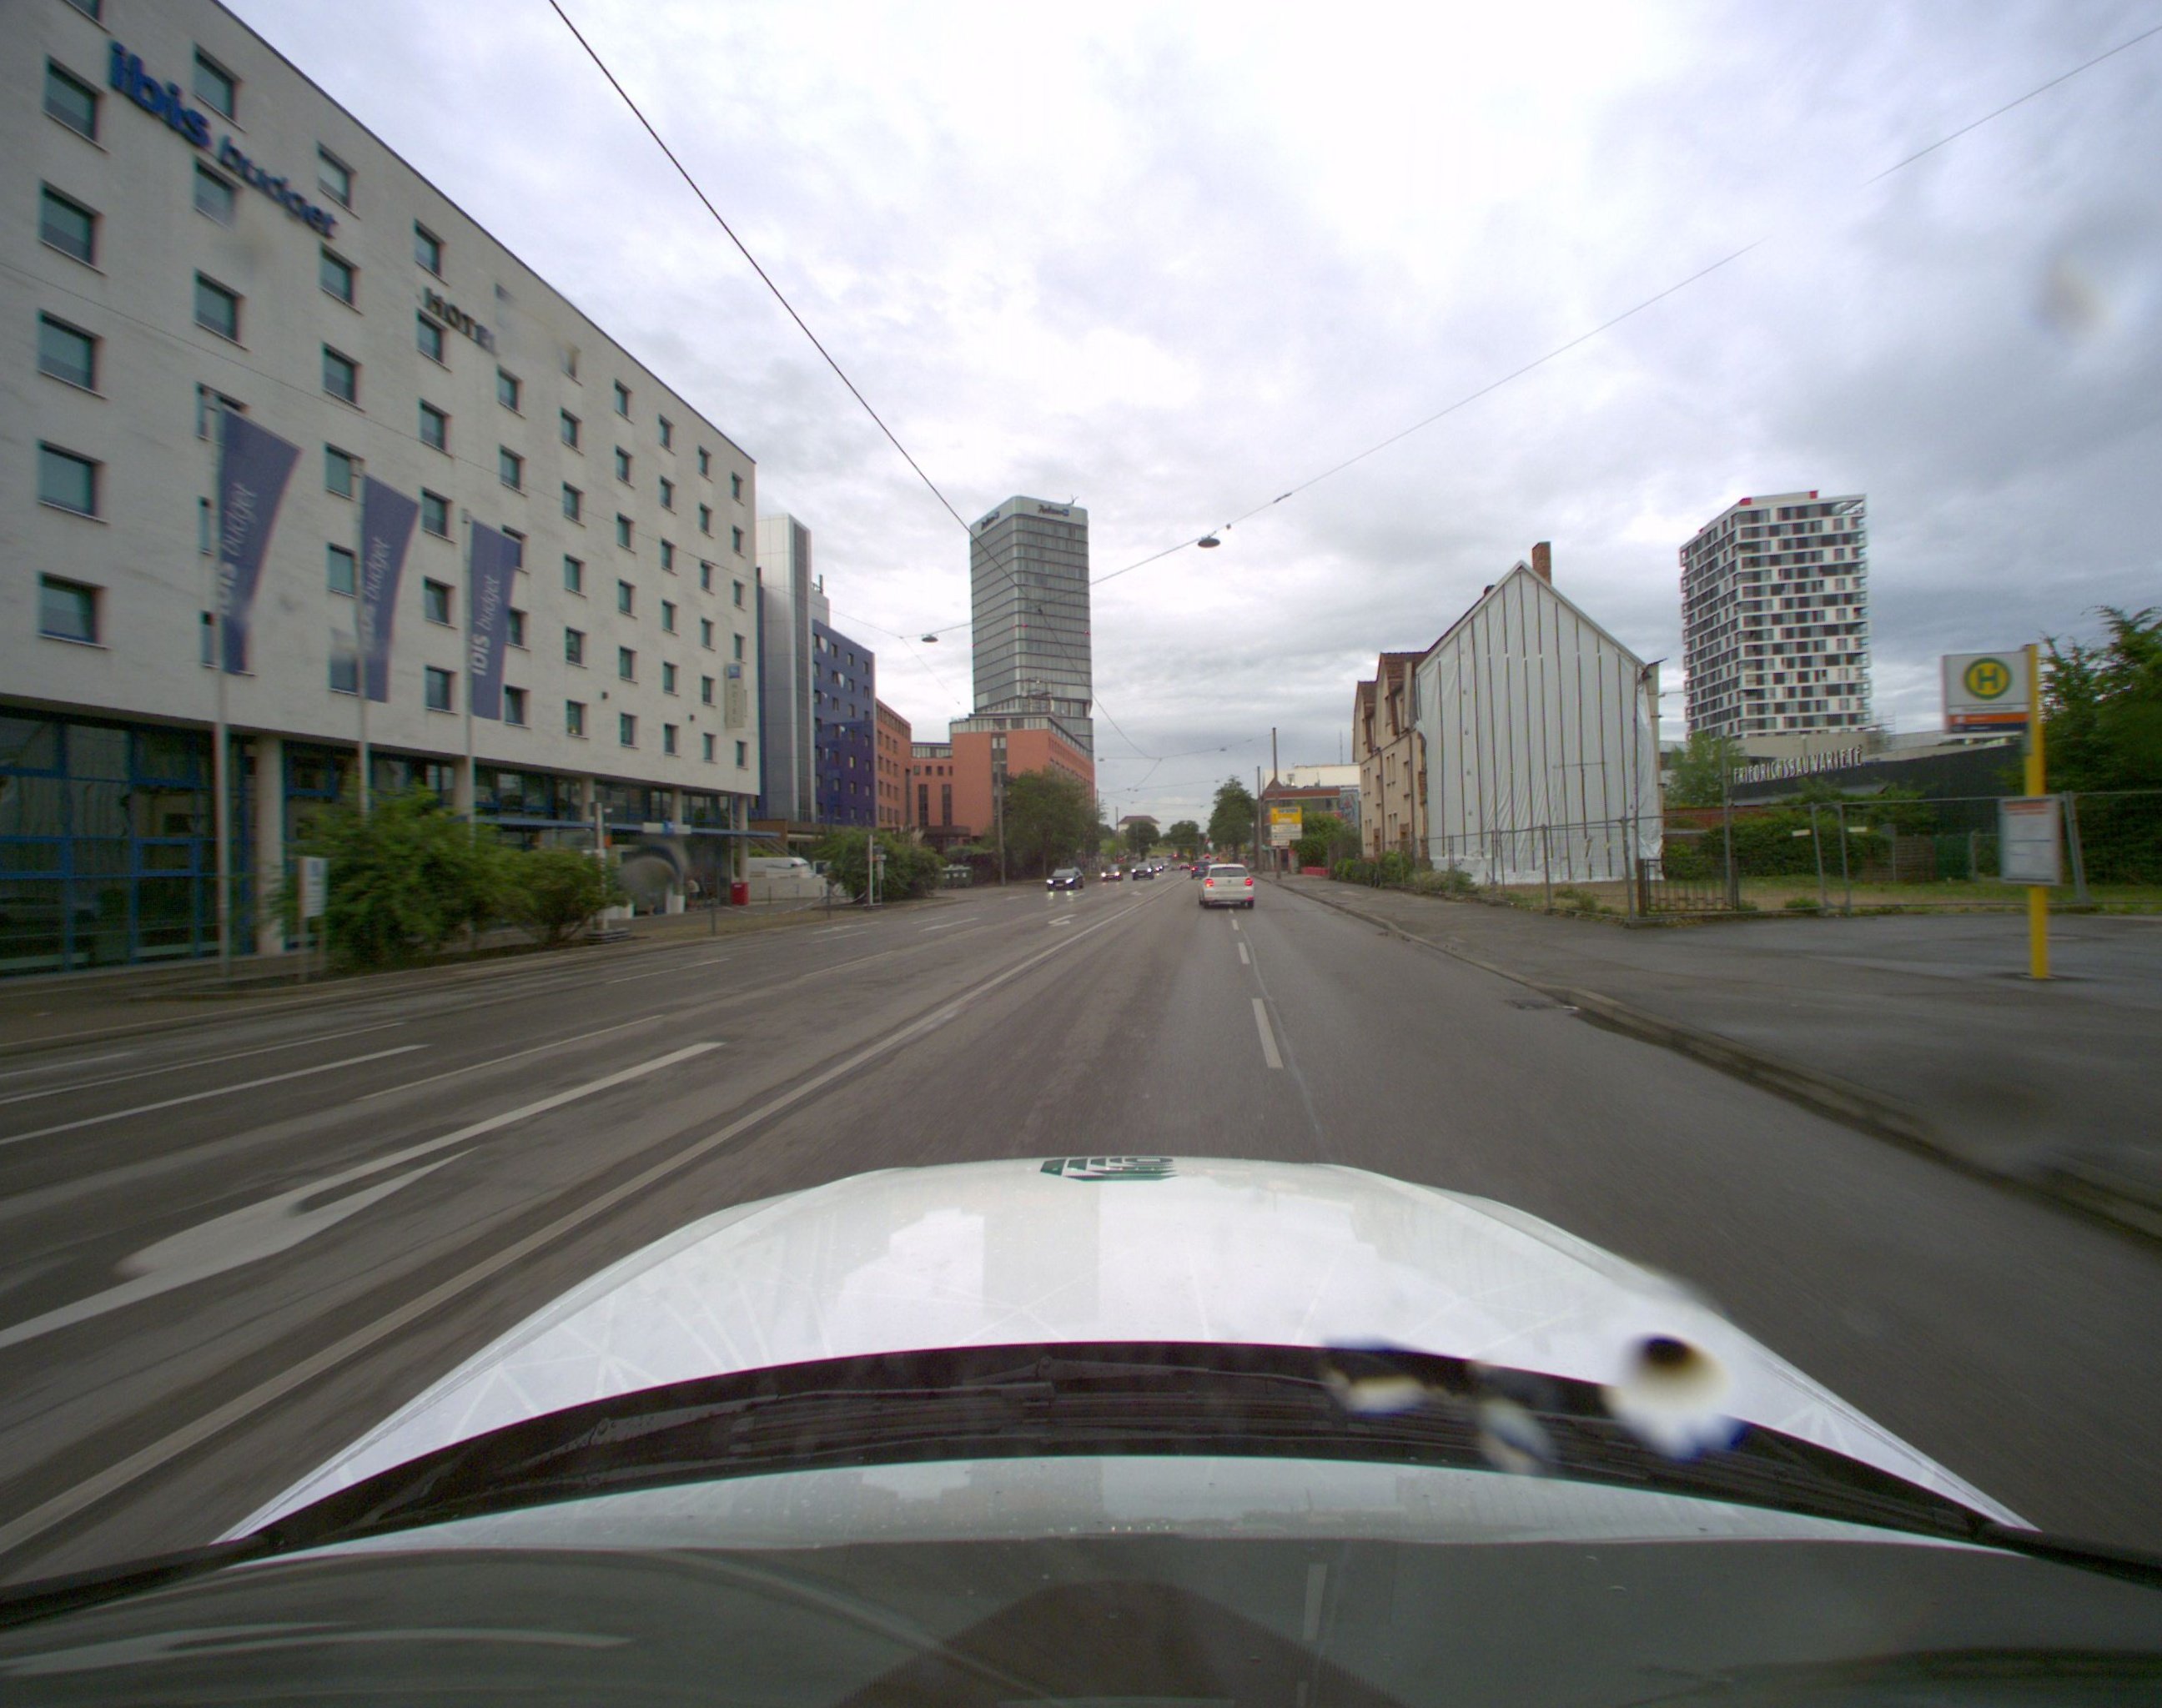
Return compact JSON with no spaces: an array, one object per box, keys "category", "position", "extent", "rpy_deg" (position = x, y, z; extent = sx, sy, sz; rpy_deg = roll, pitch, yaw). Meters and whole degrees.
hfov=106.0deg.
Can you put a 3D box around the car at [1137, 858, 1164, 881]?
[{"category":"car","position":[6.923,1.594,81.432],"extent":[1.991,2.014,3.991],"rpy_deg":[-3,-3,-6]}]

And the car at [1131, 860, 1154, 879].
[{"category":"car","position":[5.967,1.505,78.810],"extent":[1.746,1.555,4.461],"rpy_deg":[-4,0,8]}]

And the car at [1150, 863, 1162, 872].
[{"category":"car","position":[11.979,2.147,129.868],"extent":[1.649,1.486,3.829],"rpy_deg":[-2,-1,9]}]

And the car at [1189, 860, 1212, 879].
[{"category":"car","position":[10.790,1.384,73.443],"extent":[1.982,1.574,4.009],"rpy_deg":[-2,-1,8]}]

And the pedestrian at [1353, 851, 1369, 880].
[{"category":"pedestrian","position":[17.152,0.702,49.867],"extent":[0.903,1.764,0.771],"rpy_deg":[0,-1,21]}]

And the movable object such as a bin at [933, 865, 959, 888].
[{"category":"movable object such as a bin","position":[-9.454,1.581,57.051],"extent":[1.378,1.491,0.956],"rpy_deg":[-5,-3,20]}]

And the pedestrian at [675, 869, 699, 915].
[{"category":"pedestrian","position":[-18.115,1.759,37.484],"extent":[0.815,2.014,0.799],"rpy_deg":[-3,-3,-19]}]

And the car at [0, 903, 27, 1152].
[{"category":"car","position":[-7.311,0.993,2.325],"extent":[1.807,1.387,4.975],"rpy_deg":[-2,-1,8]}]

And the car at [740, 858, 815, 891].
[{"category":"car","position":[-21.984,1.526,59.111],"extent":[4.685,2.014,1.897],"rpy_deg":[-4,-3,9]}]

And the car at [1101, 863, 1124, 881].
[{"category":"car","position":[3.088,1.727,79.223],"extent":[1.698,1.566,4.044],"rpy_deg":[-4,0,9]}]

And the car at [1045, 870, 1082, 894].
[{"category":"car","position":[-1.124,1.835,54.485],"extent":[1.724,1.477,4.708],"rpy_deg":[-2,-1,7]}]

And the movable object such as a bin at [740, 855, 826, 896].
[{"category":"movable object such as a bin","position":[-22.404,1.655,61.363],"extent":[5.593,2.628,2.167],"rpy_deg":[-4,-3,8]}]

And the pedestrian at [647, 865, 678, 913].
[{"category":"pedestrian","position":[-18.182,1.533,35.399],"extent":[0.797,2.014,0.817],"rpy_deg":[-4,-3,10]}]

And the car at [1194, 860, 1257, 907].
[{"category":"car","position":[4.861,0.961,27.761],"extent":[1.664,1.474,3.783],"rpy_deg":[-1,-1,3]}]

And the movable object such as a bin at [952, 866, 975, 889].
[{"category":"movable object such as a bin","position":[-8.106,1.620,56.103],"extent":[1.386,1.491,0.951],"rpy_deg":[-4,-3,-1]}]

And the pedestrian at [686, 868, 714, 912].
[{"category":"pedestrian","position":[-18.065,1.700,38.617],"extent":[0.804,2.014,0.907],"rpy_deg":[-6,-4,38]}]
